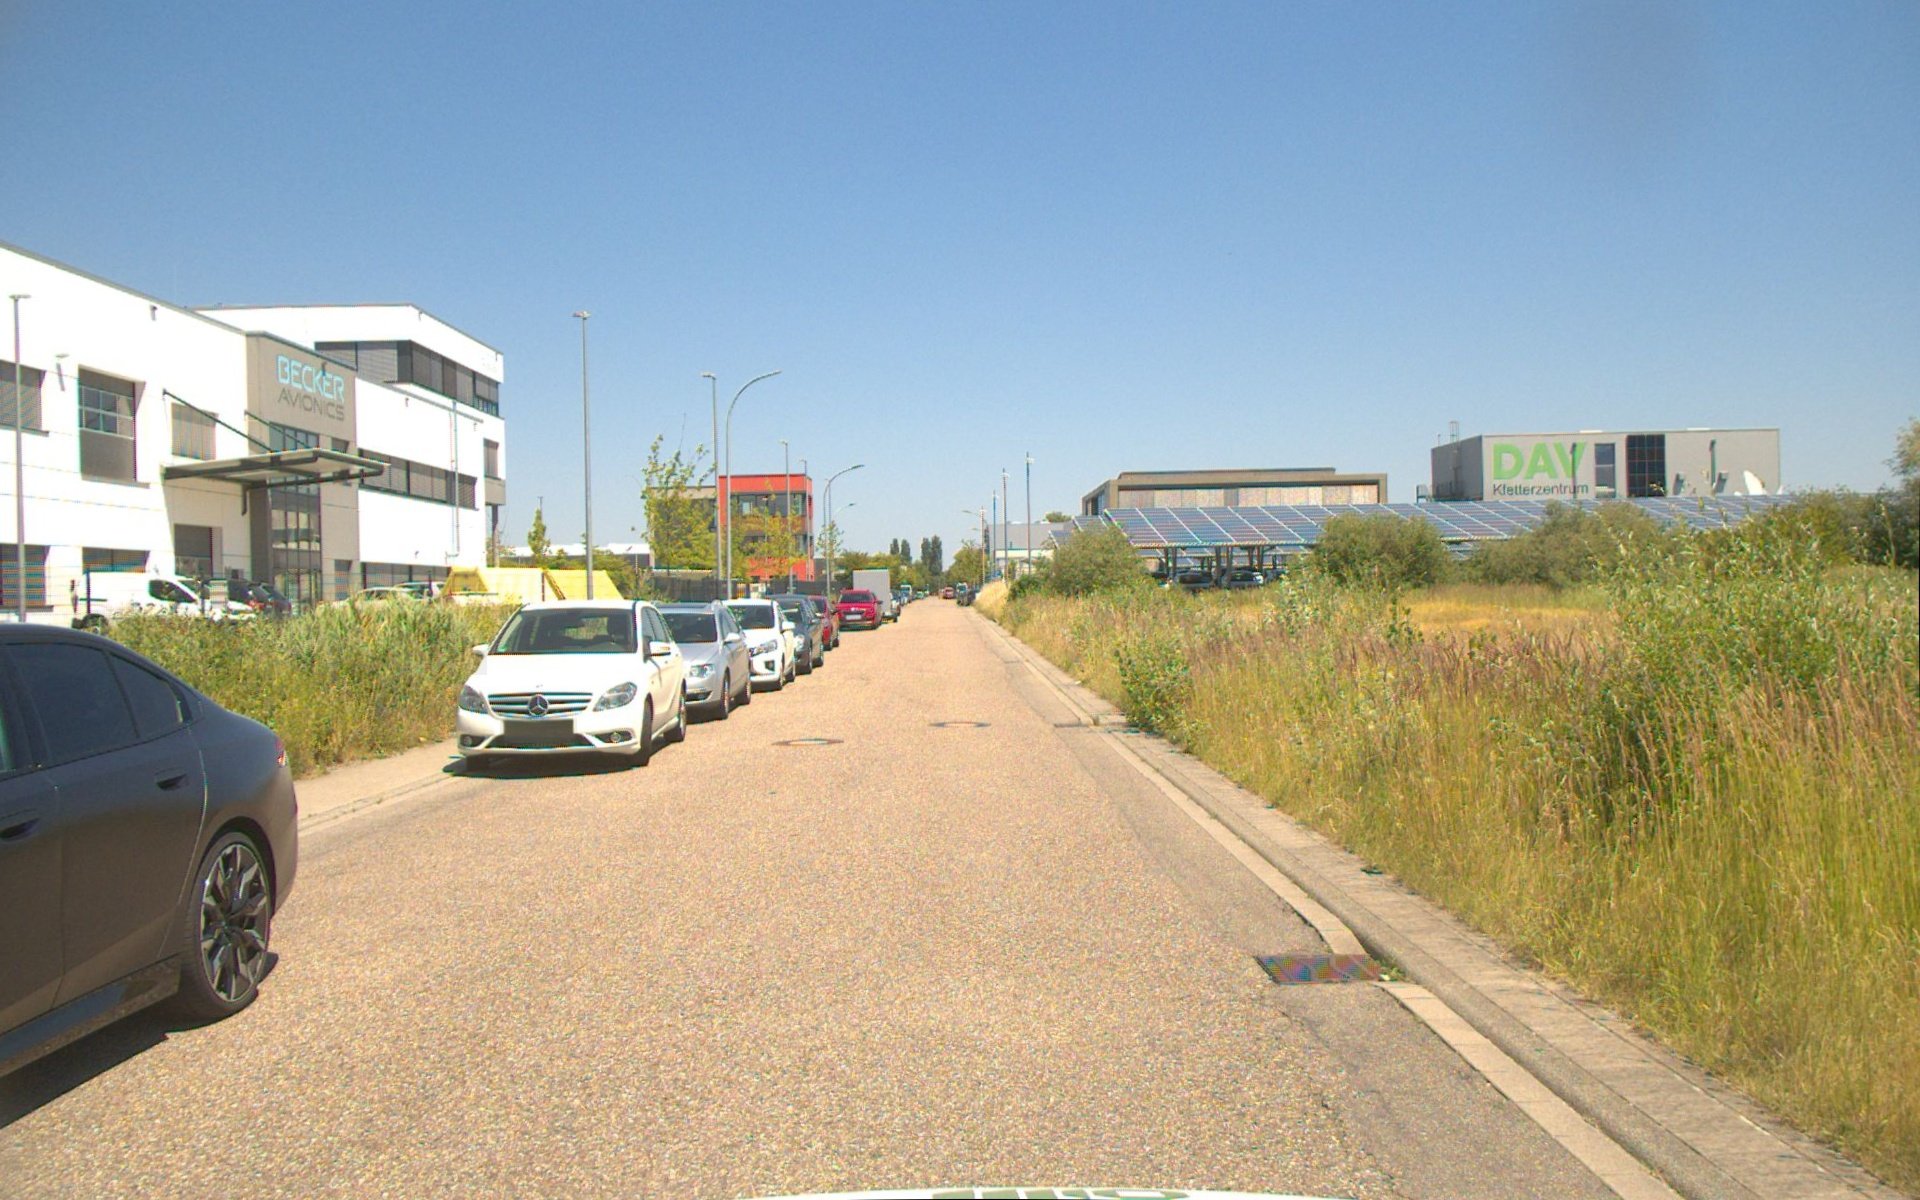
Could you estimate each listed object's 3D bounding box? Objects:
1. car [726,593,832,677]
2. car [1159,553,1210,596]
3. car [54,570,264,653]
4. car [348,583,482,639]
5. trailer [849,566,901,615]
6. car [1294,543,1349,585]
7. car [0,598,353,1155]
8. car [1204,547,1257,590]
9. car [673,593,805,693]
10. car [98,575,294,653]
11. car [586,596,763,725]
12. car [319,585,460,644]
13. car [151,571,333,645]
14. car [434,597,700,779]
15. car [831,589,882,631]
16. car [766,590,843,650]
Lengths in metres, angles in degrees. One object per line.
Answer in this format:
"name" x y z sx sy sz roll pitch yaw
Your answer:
"car" -3.655 0.663 34.005 1.750 1.547 3.982 -2 0 -1
"car" 11.482 -1.285 84.832 1.953 2.049 3.999 -2 0 -1
"car" -20.821 0.285 43.128 4.436 1.977 2.031 -2 0 0
"car" -20.996 0.413 63.835 4.436 1.977 2.031 -2 0 0
"trailer" -3.931 -0.445 77.054 2.156 2.175 4.285 -2 0 -1
"car" 18.581 -1.824 85.119 1.840 2.049 3.999 -2 0 -1
"car" -3.528 0.796 4.744 1.733 1.511 5.014 -2 0 -1
"car" 13.881 -1.595 85.038 1.953 2.049 3.999 -2 0 -1
"car" -3.761 0.684 28.756 1.750 1.547 3.982 -2 0 -1
"car" -21.130 0.367 45.875 4.436 1.977 2.031 -2 0 0
"car" -3.827 0.756 22.792 1.750 1.547 3.982 -2 0 -1
"car" -21.002 0.533 60.981 4.436 1.977 2.031 -2 0 0
"car" -21.150 0.231 48.863 4.436 1.977 2.031 -2 0 0
"car" -3.835 0.783 16.824 1.750 1.547 3.982 -2 0 -1
"car" -4.062 0.376 65.528 1.750 1.547 3.982 -2 0 -1
"car" -4.293 0.523 46.117 1.750 1.547 3.982 -2 0 -1
